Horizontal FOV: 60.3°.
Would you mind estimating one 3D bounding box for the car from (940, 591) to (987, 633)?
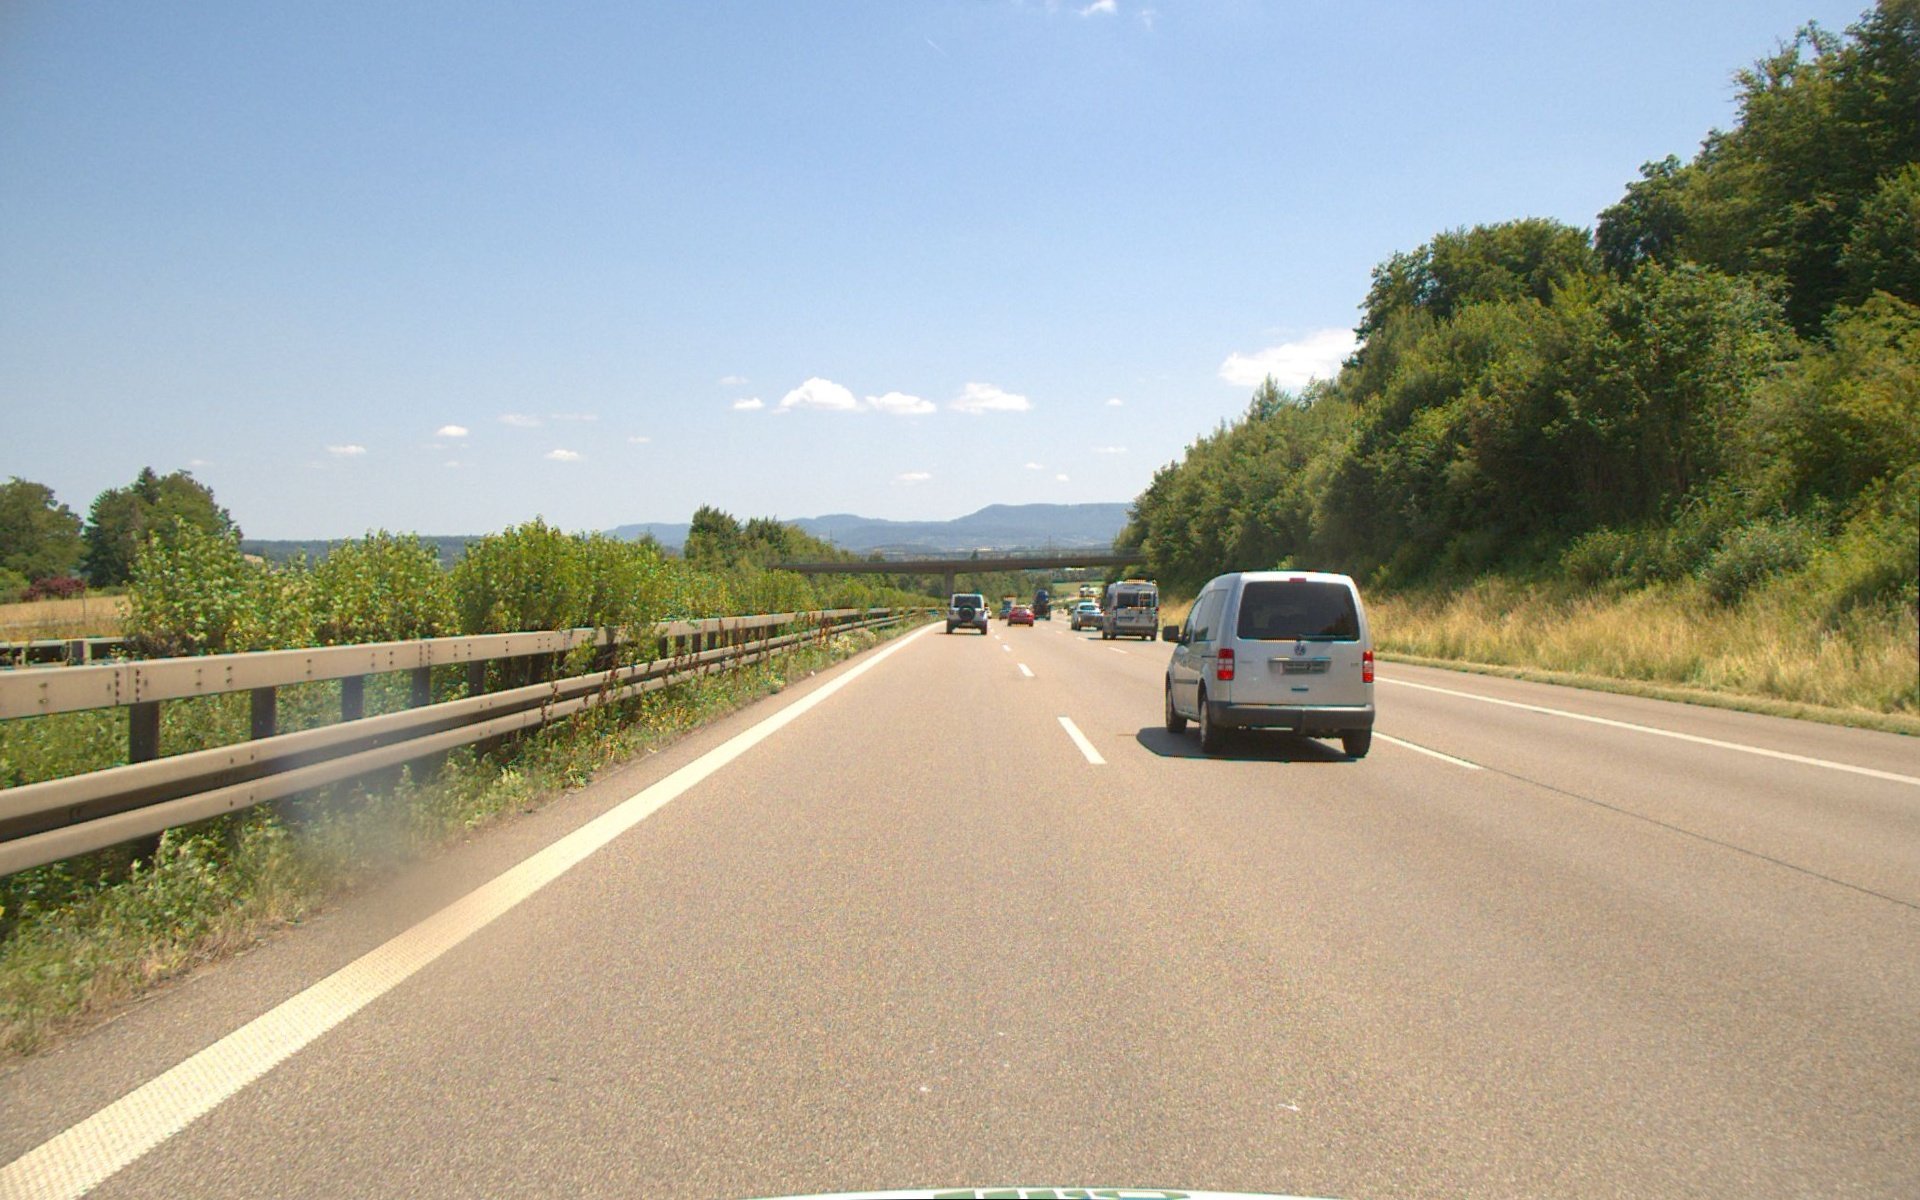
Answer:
[{"bbox_3d":[0.199,0.543,78.453,2.040,1.861,4.755,1,1,2],"label":"car"}]

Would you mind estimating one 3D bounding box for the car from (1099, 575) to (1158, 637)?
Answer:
[{"bbox_3d":[7.476,0.217,73.932,2.046,2.621,6.623,1,1,1],"label":"car"}]

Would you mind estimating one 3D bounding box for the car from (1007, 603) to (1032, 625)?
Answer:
[{"bbox_3d":[4.153,0.979,115.612,1.651,1.403,3.949,1,1,0],"label":"car"}]

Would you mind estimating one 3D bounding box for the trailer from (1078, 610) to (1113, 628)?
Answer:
[{"bbox_3d":[8.024,1.127,98.114,1.718,0.924,4.319,1,1,0],"label":"trailer"}]

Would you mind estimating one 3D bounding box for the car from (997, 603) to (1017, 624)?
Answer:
[{"bbox_3d":[4.807,1.392,170.405,1.953,2.049,4.000,1,1,0],"label":"car"}]

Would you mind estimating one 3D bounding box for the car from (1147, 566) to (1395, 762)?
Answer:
[{"bbox_3d":[3.281,0.590,18.381,1.710,1.861,4.800,1,1,-2],"label":"car"}]

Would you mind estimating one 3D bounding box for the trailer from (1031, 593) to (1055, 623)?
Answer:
[{"bbox_3d":[12.289,1.133,243.483,2.795,4.063,15.406,1,1,5],"label":"trailer"}]

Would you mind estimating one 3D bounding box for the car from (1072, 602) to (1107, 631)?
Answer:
[{"bbox_3d":[8.012,0.977,102.483,1.745,1.679,4.403,1,1,0],"label":"car"}]

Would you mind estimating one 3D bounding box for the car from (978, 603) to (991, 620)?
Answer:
[{"bbox_3d":[3.207,1.528,219.874,1.663,2.049,3.823,1,1,1],"label":"car"}]
